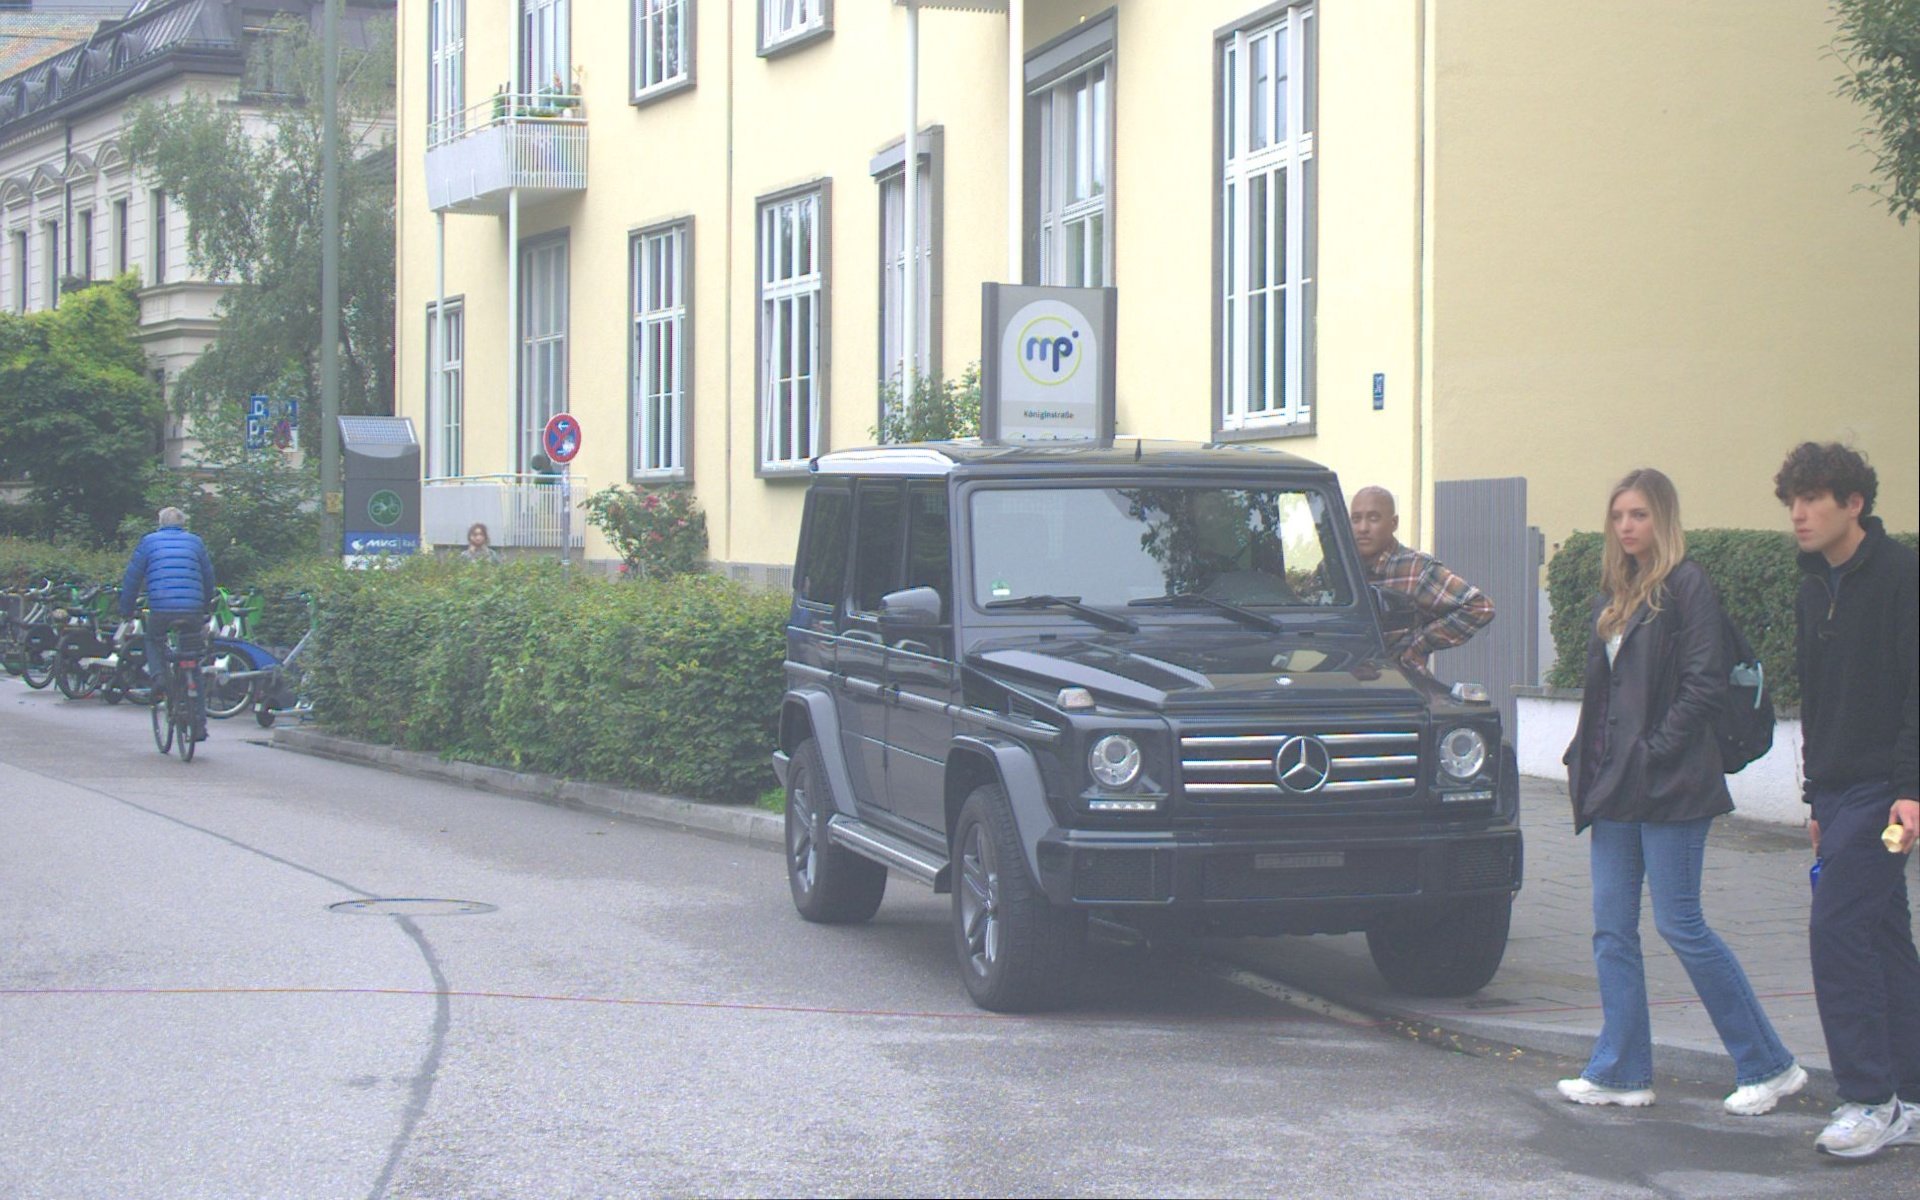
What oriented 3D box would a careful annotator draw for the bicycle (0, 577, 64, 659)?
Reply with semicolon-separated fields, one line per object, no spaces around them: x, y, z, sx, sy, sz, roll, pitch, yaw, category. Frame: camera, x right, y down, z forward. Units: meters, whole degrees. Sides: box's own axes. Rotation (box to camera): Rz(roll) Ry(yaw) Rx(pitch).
-12.161;0.233;43.530;1.533;1.011;0.409;-2;2;-42;bicycle

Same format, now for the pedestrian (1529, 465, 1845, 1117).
2.022;0.500;9.601;0.827;1.740;0.740;0;1;11;pedestrian

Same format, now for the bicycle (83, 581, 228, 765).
-5.950;0.503;25.333;0.920;1.248;2.322;0;1;-16;bicycle

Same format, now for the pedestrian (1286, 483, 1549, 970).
1.697;0.445;12.880;0.848;1.751;0.953;-1;1;0;pedestrian

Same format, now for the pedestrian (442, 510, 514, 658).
-5.570;-0.190;39.736;0.631;1.678;0.698;-1;1;-23;pedestrian

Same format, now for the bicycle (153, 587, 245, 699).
-7.359;0.404;33.305;0.366;1.011;1.537;-1;2;7;bicycle

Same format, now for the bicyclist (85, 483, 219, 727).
-5.994;0.016;25.471;0.914;1.758;1.215;0;1;-15;bicyclist

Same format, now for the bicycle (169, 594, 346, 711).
-6.448;0.478;31.587;1.532;1.011;0.367;-2;2;-27;bicycle

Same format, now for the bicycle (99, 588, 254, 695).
-7.823;0.404;34.366;0.367;1.011;1.534;0;2;44;bicycle

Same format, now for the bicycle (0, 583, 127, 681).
-9.875;0.344;37.686;0.409;1.011;1.535;0;2;35;bicycle

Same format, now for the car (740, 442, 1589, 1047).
0.537;0.394;13.153;1.873;1.881;4.620;0;1;-15;car

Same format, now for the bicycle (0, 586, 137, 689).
-9.341;0.378;35.925;0.409;1.011;1.535;0;2;35;bicycle

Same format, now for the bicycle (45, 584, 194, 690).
-8.595;0.368;35.199;0.409;1.011;1.534;0;2;39;bicycle

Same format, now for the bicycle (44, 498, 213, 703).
-8.351;-0.014;34.573;0.456;2.007;1.673;0;2;39;bicycle

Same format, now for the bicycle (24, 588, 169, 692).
-8.936;0.407;35.625;0.409;1.011;1.535;0;2;35;bicycle

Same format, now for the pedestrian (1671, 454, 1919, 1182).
2.358;0.535;8.838;0.990;1.803;0.659;0;1;8;pedestrian
